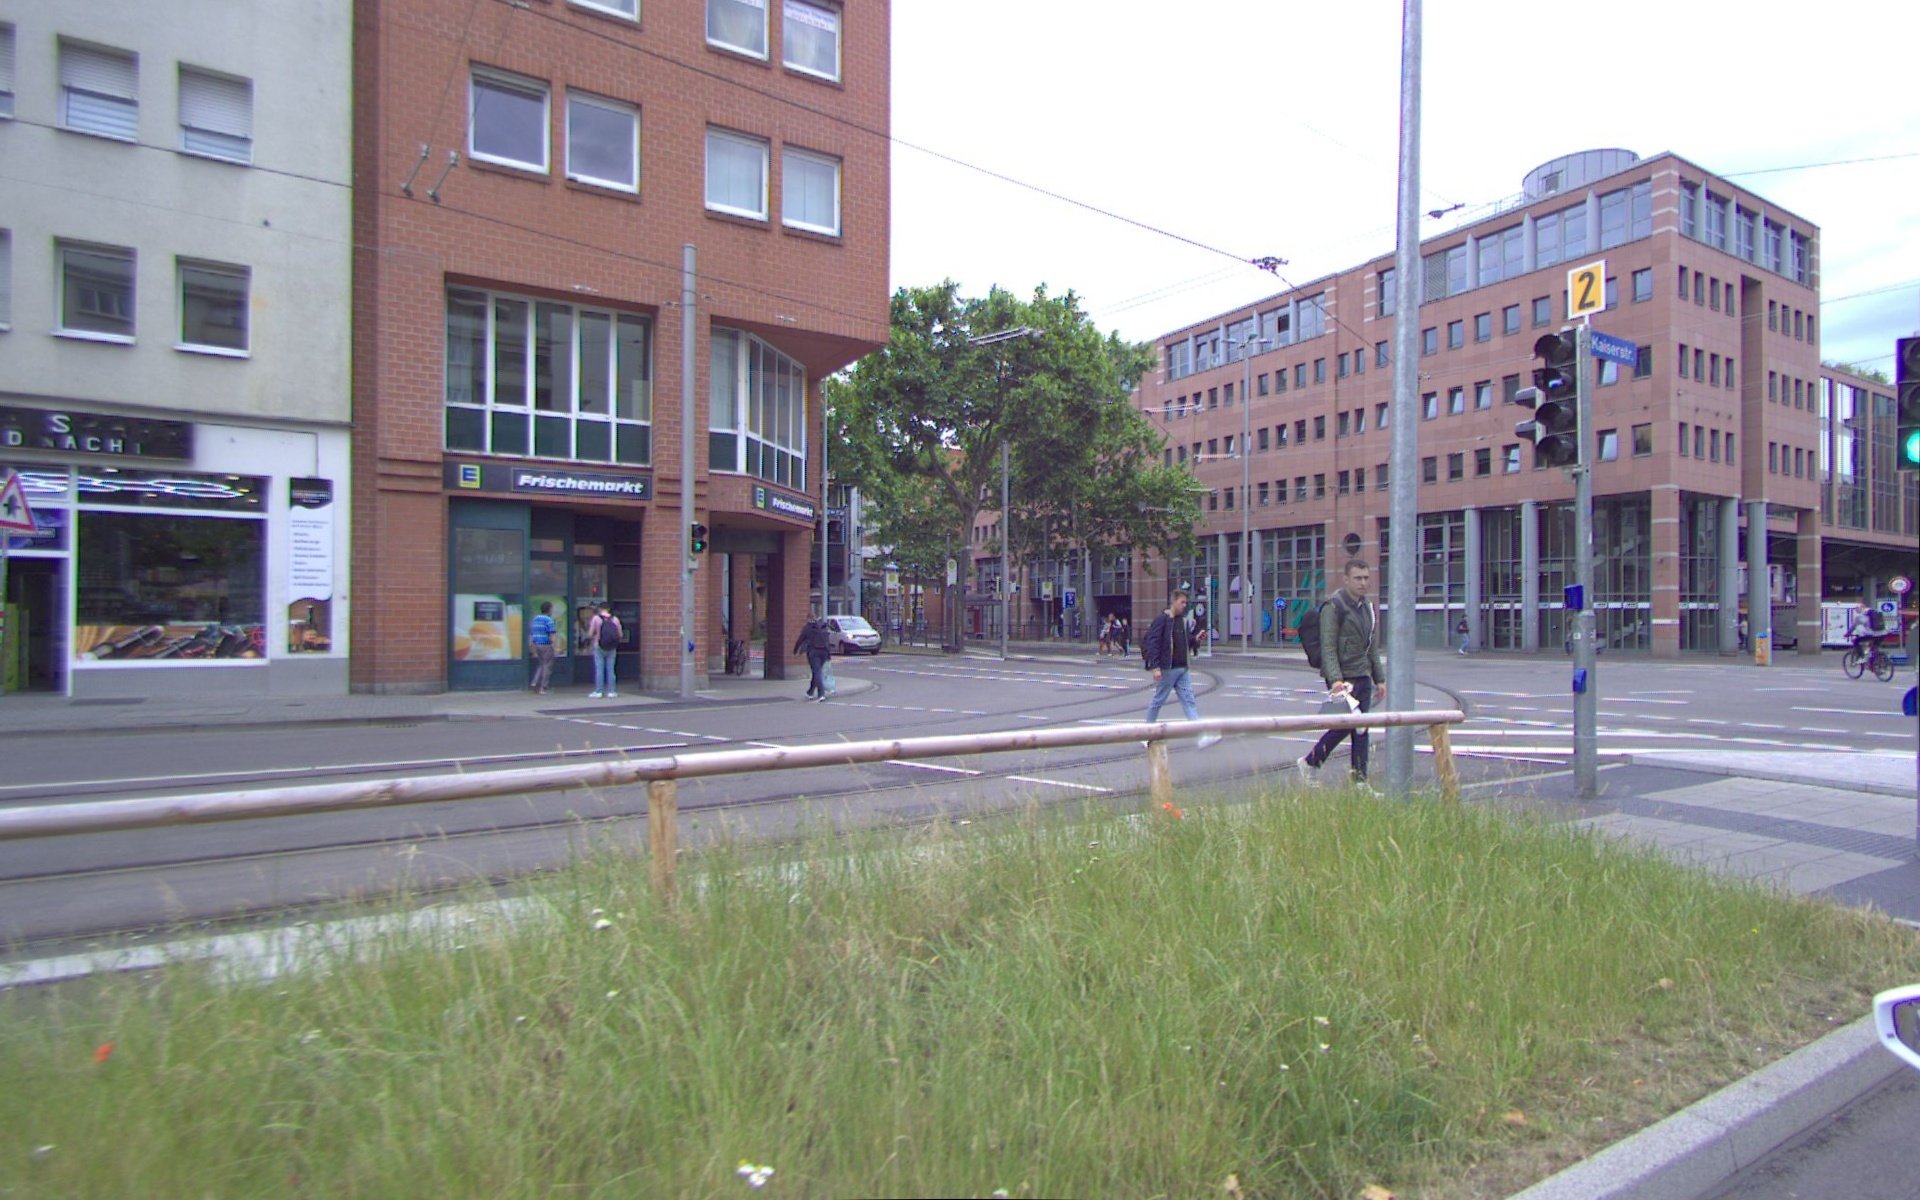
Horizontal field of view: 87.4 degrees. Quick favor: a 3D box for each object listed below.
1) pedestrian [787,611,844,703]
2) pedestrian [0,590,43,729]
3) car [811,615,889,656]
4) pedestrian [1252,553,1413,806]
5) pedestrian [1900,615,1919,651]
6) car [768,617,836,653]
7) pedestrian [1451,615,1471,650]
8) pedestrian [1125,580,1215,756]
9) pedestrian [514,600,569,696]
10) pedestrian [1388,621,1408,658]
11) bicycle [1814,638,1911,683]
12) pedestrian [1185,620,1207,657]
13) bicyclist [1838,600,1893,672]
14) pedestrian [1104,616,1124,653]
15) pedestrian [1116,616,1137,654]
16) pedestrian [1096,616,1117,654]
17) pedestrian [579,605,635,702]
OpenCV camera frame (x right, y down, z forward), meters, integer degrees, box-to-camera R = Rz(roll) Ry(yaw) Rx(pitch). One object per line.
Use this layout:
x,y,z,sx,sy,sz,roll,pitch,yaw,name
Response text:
-2.785,1.087,19.299,0.791,1.706,0.739,2,0,-35,pedestrian
-11.976,0.734,12.535,0.718,1.709,0.654,3,-2,-43,pedestrian
-5.099,1.605,46.245,1.909,1.817,3.960,1,-1,-35,car
3.023,0.606,8.186,0.790,1.915,0.891,2,0,-33,pedestrian
49.913,1.721,52.619,0.721,1.866,0.701,1,0,-11,pedestrian
-8.208,1.779,52.026,1.909,1.817,3.960,1,-1,-35,car
23.377,1.519,46.888,0.731,1.581,0.573,1,-1,33,pedestrian
2.386,0.756,11.403,0.790,1.914,0.607,2,-1,-33,pedestrian
-7.656,0.876,18.367,0.717,1.709,0.654,3,-2,-40,pedestrian
20.989,1.895,48.117,0.731,1.710,0.573,1,-1,33,pedestrian
23.734,1.552,26.499,0.887,1.058,3.276,0,-1,23,bicycle
10.371,1.705,44.118,0.734,1.581,0.570,2,-1,-25,pedestrian
23.713,0.929,26.316,0.821,1.836,0.877,1,0,24,bicyclist
6.824,1.537,44.583,0.624,1.633,0.568,2,-1,-38,pedestrian
7.067,1.488,42.678,0.624,1.595,0.568,2,-1,-38,pedestrian
6.405,1.527,43.882,0.624,1.633,0.568,2,-1,-38,pedestrian
-6.379,0.950,18.143,0.791,1.706,0.565,2,0,-35,pedestrian
